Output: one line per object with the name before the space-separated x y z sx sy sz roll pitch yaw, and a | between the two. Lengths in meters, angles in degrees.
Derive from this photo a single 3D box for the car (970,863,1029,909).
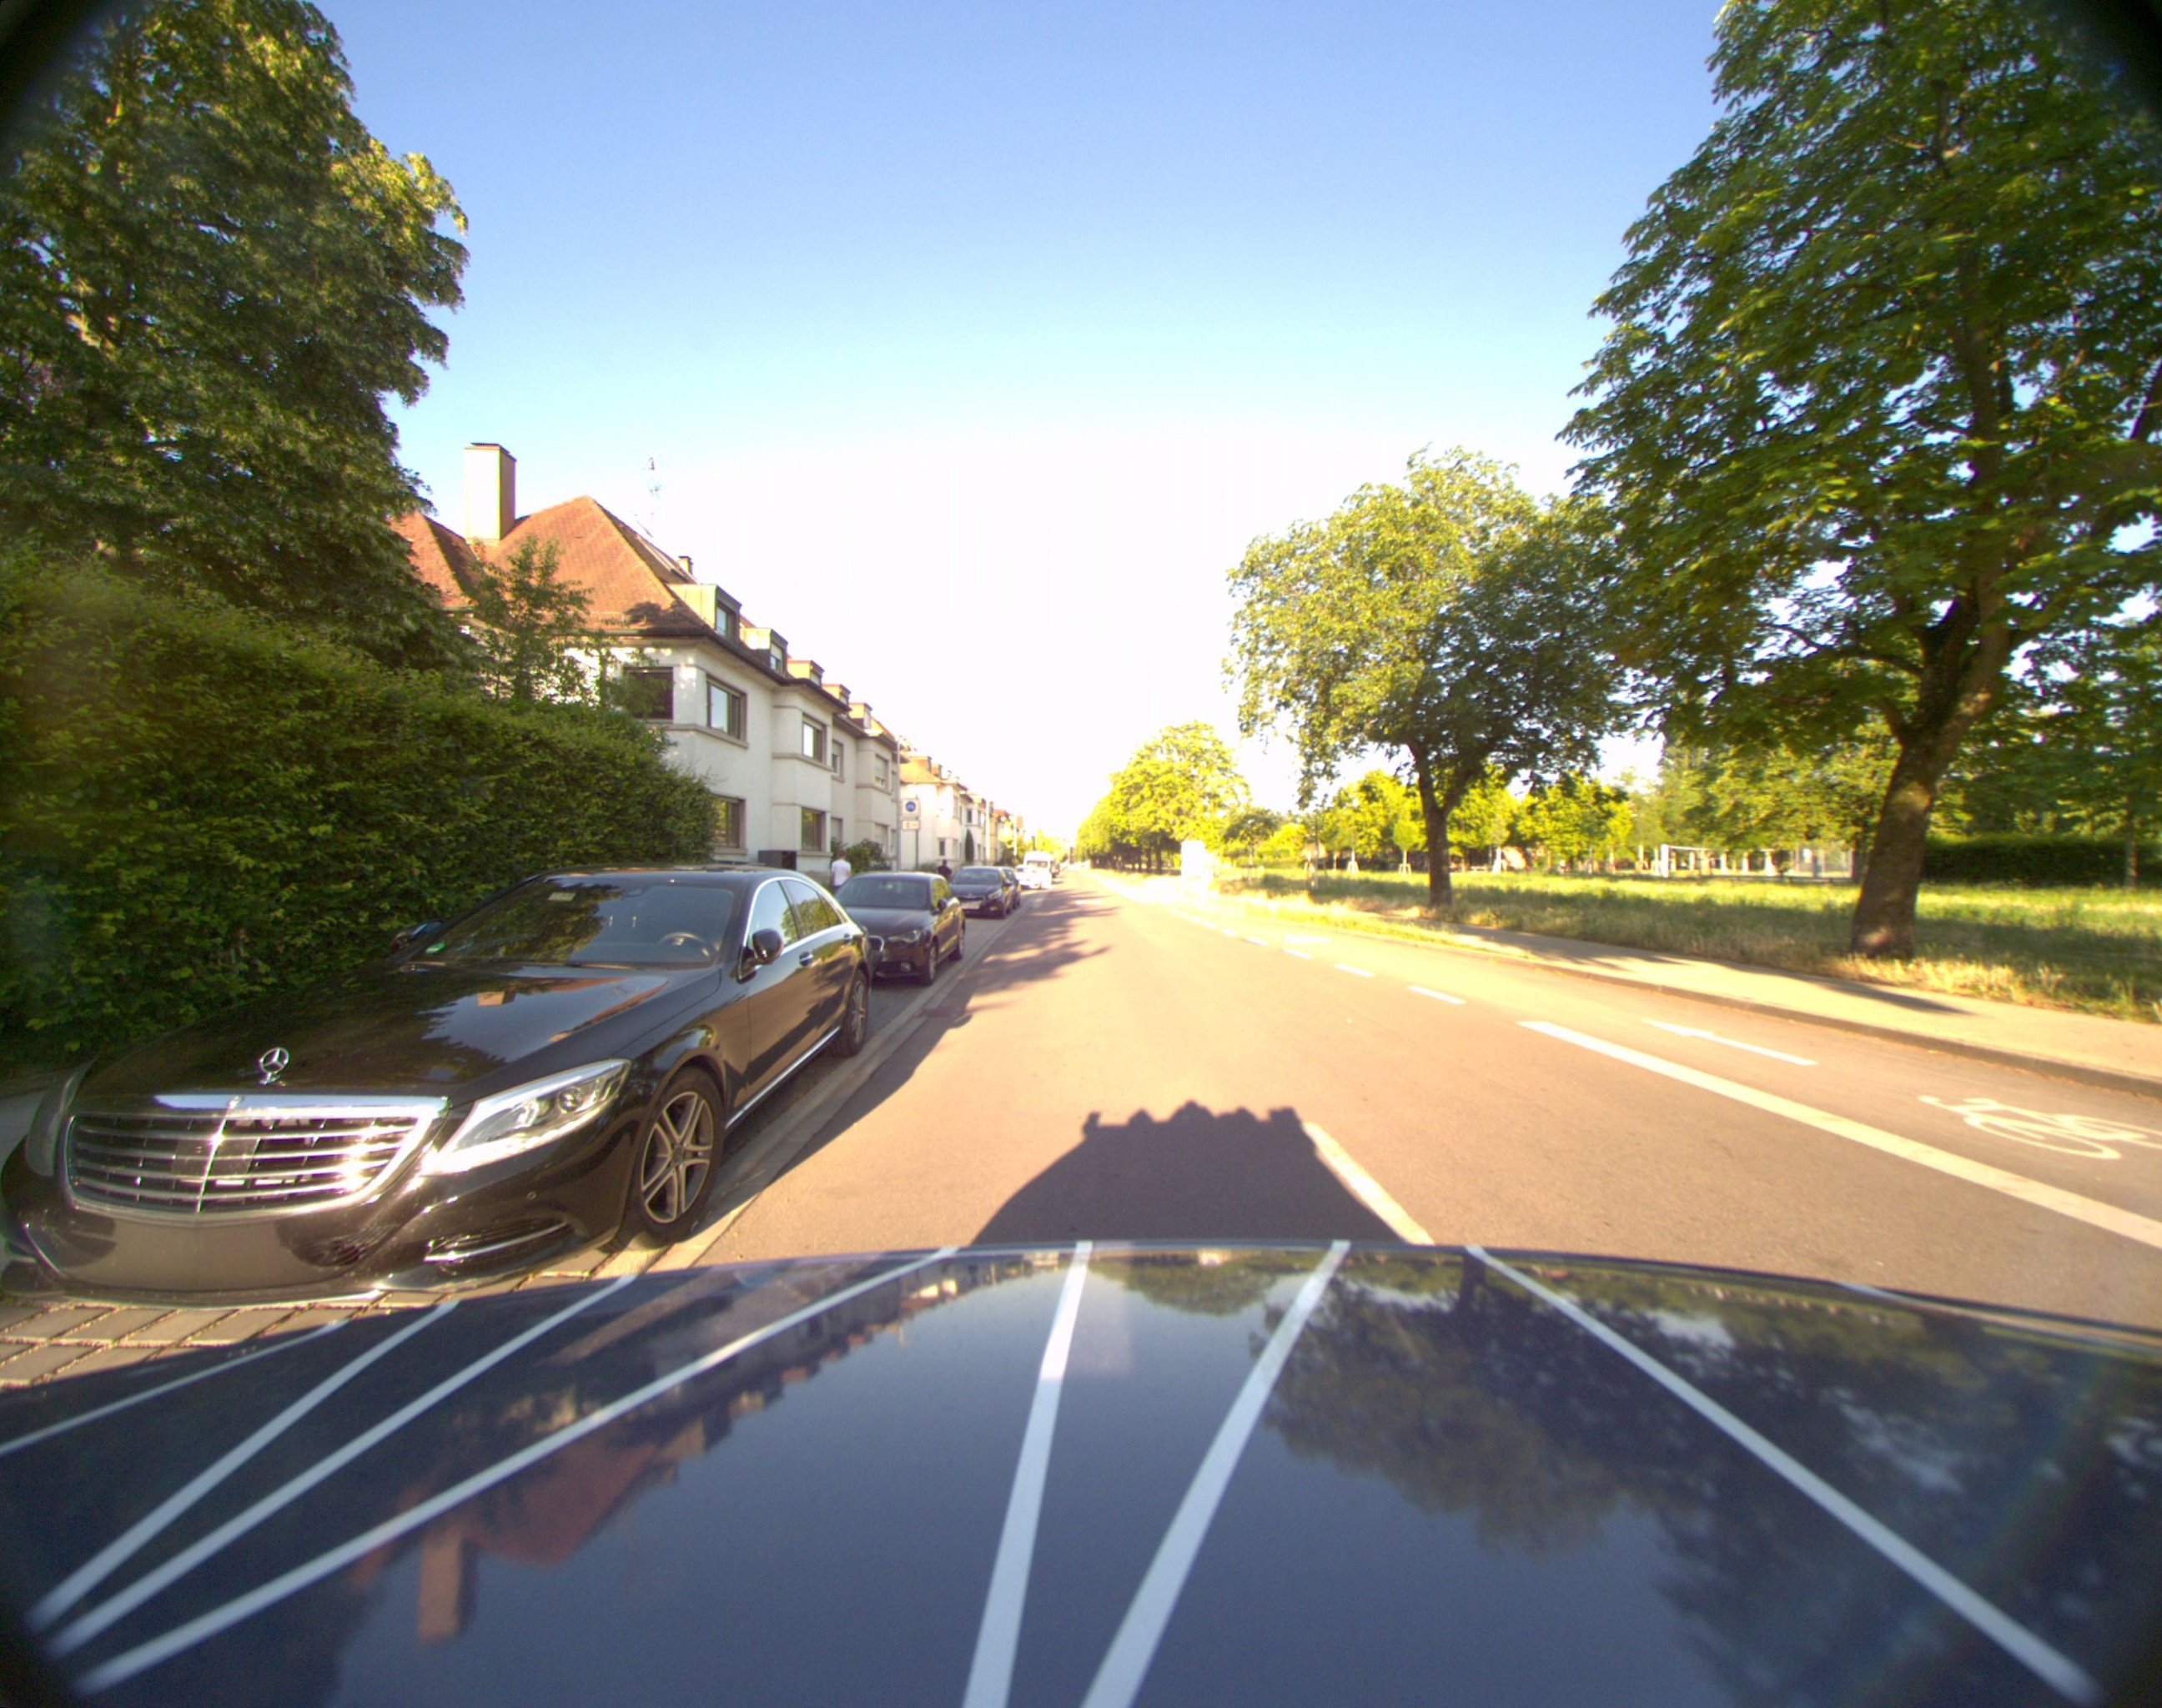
car | -2.899 1.117 27.639 1.680 1.525 3.472 -2 -1 1

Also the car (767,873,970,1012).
car | -2.735 1.071 10.759 1.784 1.469 4.000 -2 -1 -1

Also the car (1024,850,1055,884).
car | -3.237 0.932 60.010 2.132 2.461 5.723 -2 1 -1

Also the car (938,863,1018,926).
car | -2.889 1.094 22.105 1.796 1.586 4.077 -2 -1 -1

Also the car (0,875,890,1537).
car | -2.596 0.938 4.307 2.009 1.489 4.914 2 0 -3

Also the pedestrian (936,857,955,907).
pedestrian | -4.953 1.028 27.846 0.531 1.787 0.589 -2 1 -2

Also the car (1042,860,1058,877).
car | -3.604 1.710 88.946 1.708 1.848 3.712 -2 1 0

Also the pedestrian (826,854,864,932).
pedestrian | -5.728 0.929 18.455 0.587 1.835 0.823 -2 1 1

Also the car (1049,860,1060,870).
car | -4.138 1.726 117.255 1.682 1.543 3.842 1 0 -3

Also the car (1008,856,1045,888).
car | -3.289 1.063 46.488 1.999 1.775 3.999 -2 1 -1
